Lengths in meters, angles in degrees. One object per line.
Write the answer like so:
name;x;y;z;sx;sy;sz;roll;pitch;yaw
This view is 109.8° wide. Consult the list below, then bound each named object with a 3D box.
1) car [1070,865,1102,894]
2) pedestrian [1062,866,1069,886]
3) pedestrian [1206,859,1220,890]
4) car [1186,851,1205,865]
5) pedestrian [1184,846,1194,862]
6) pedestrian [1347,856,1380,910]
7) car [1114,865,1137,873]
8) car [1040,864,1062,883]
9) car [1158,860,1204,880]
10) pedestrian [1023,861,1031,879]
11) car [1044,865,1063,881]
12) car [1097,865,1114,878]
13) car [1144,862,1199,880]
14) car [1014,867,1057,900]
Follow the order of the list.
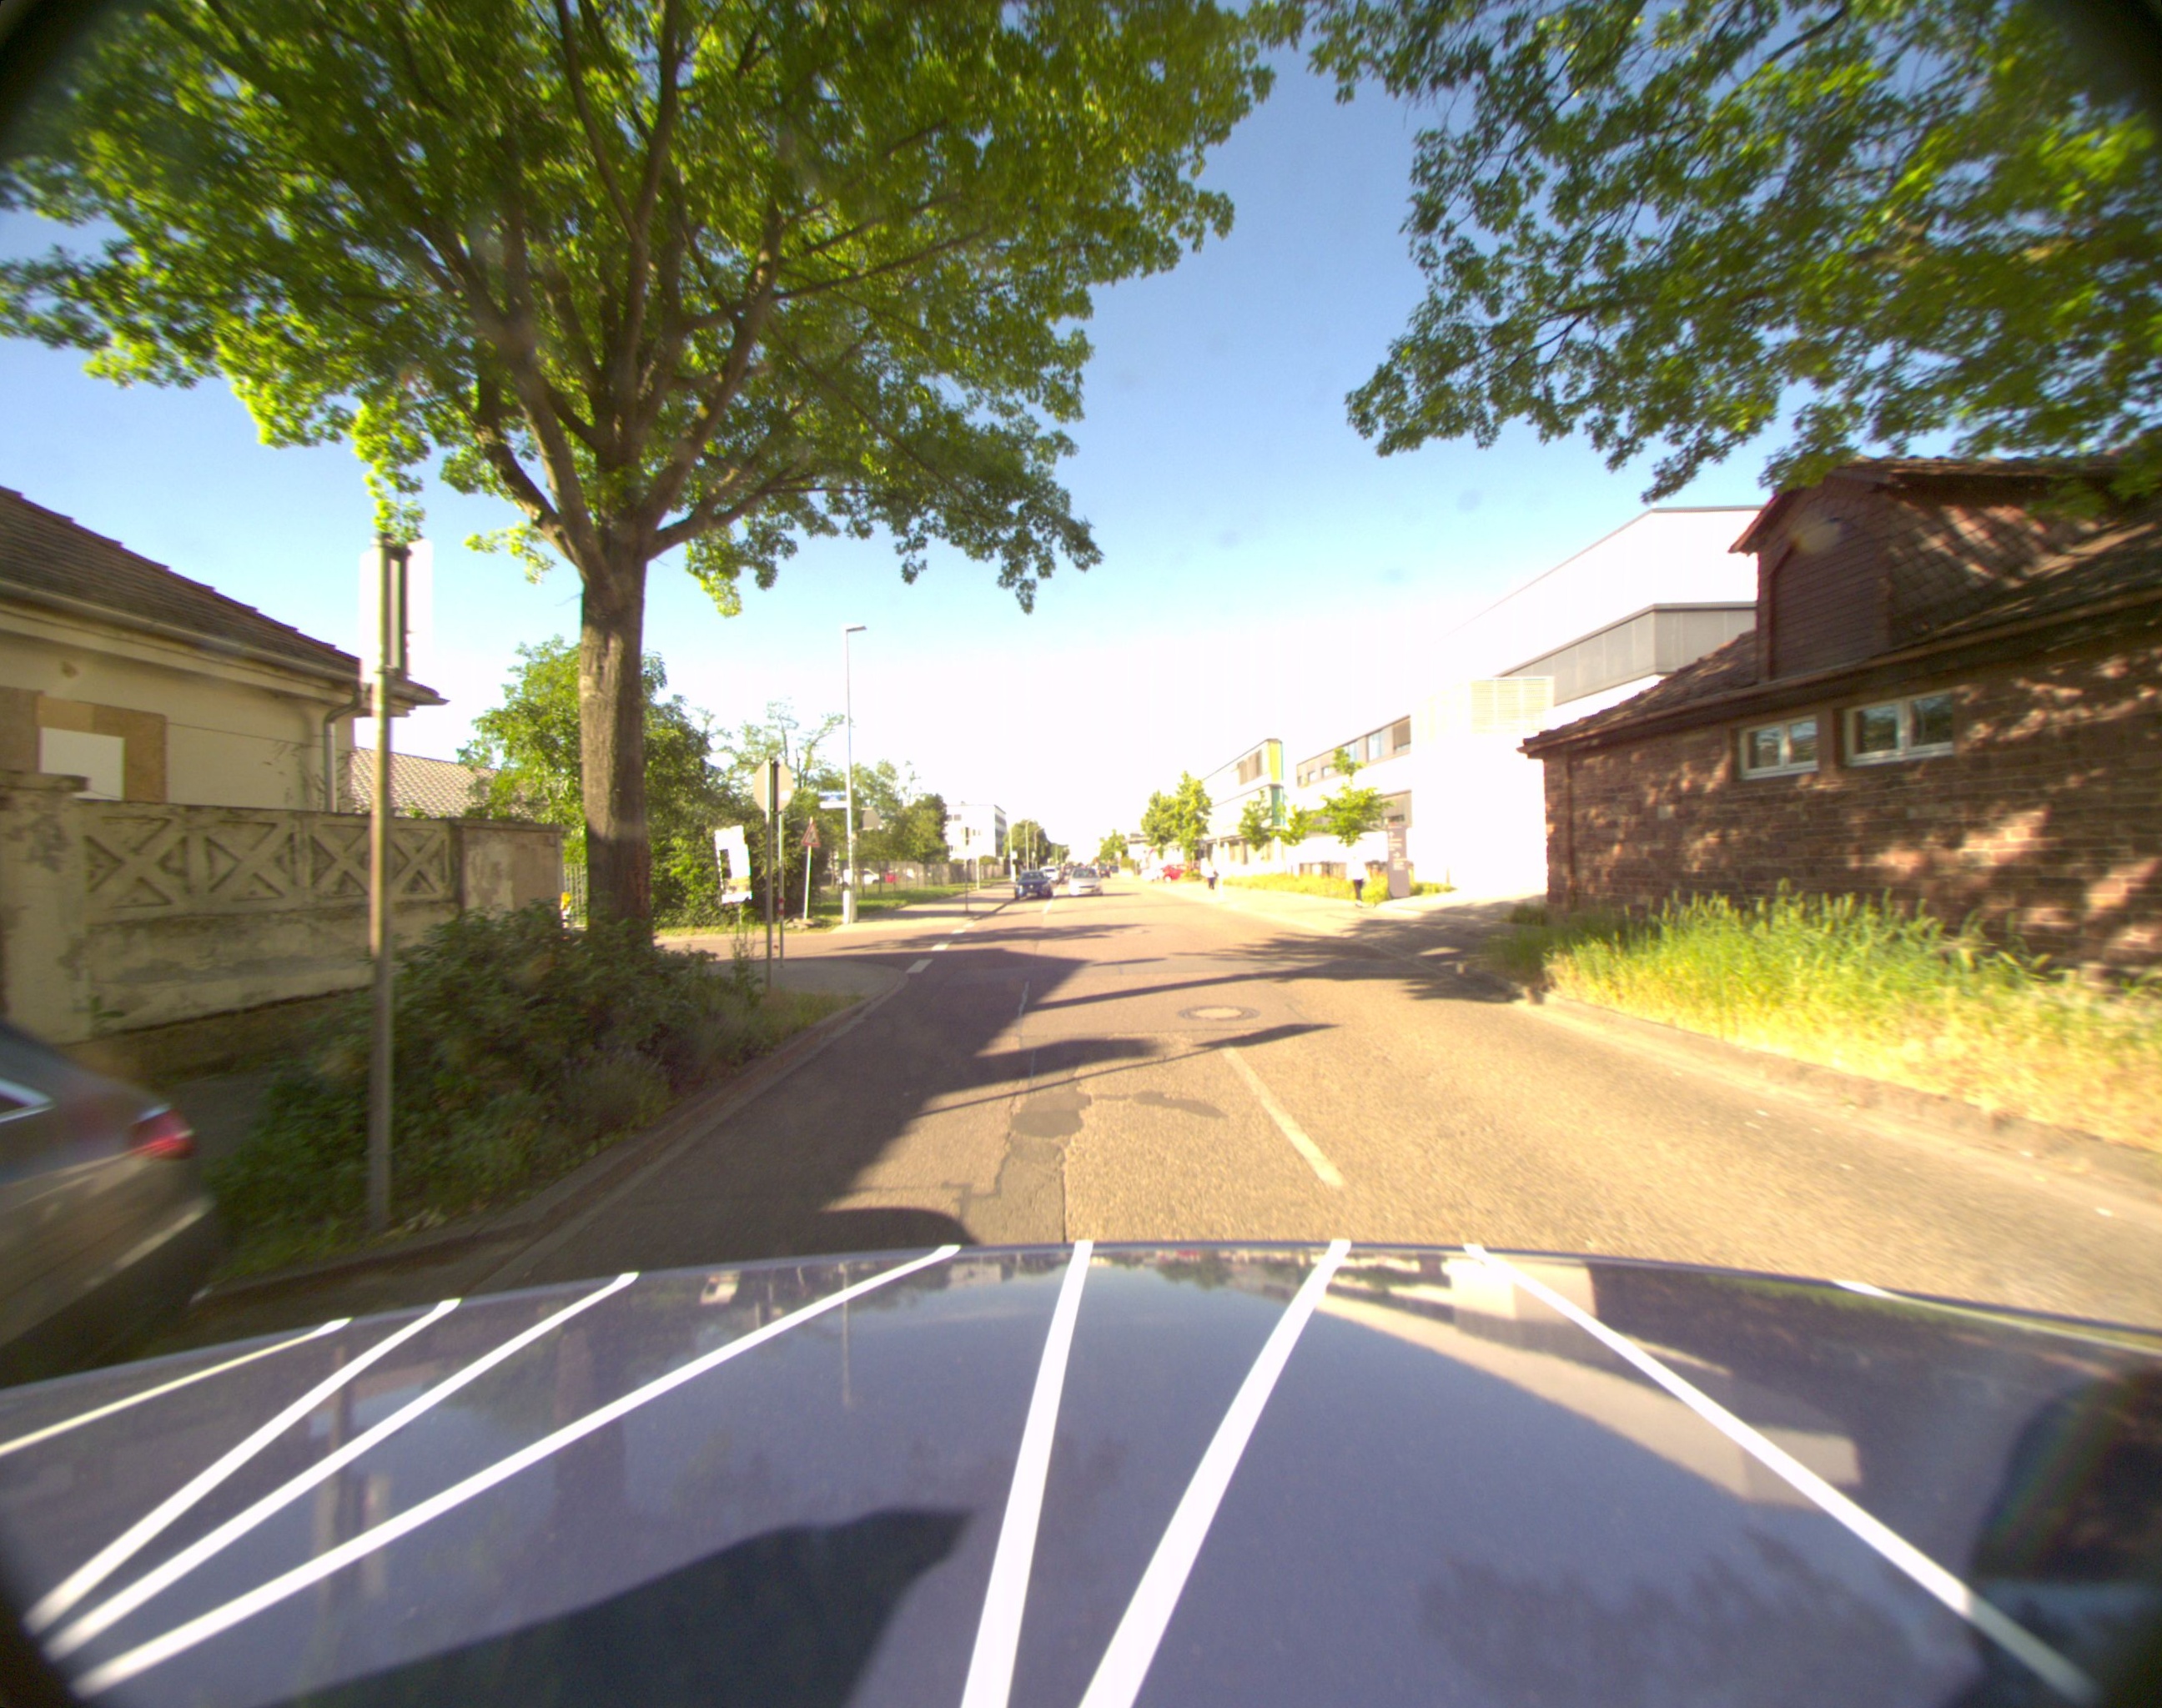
car;0.277;1.297;39.607;1.551;1.389;3.454;-2;0;1
pedestrian;-1.351;1.971;67.894;0.522;1.698;0.523;-3;1;-2
pedestrian;6.601;0.999;37.947;0.539;1.515;0.607;-2;0;1
car;16.358;0.559;108.905;1.924;1.879;4.711;-1;-1;-1
pedestrian;10.955;0.008;77.127;0.775;1.540;0.780;-3;1;0
pedestrian;8.330;0.835;22.433;0.522;1.553;1.096;-2;0;-1
car;8.473;2.849;143.607;4.142;1.458;1.753;-2;0;-2
car;-2.697;1.697;67.468;1.818;1.579;4.261;-3;-1;-2
car;8.198;1.327;62.573;3.642;1.460;1.615;-3;-1;6
pedestrian;-5.070;1.487;71.202;0.540;1.602;0.683;-3;1;0
car;-2.711;1.834;75.203;1.705;1.478;3.980;-3;-1;-3
car;3.098;2.183;96.665;1.767;1.433;4.536;-3;0;-3
car;7.637;1.413;64.477;4.522;1.359;1.700;-2;0;2
car;-2.296;1.469;39.128;1.822;1.444;4.214;-4;-1;0
